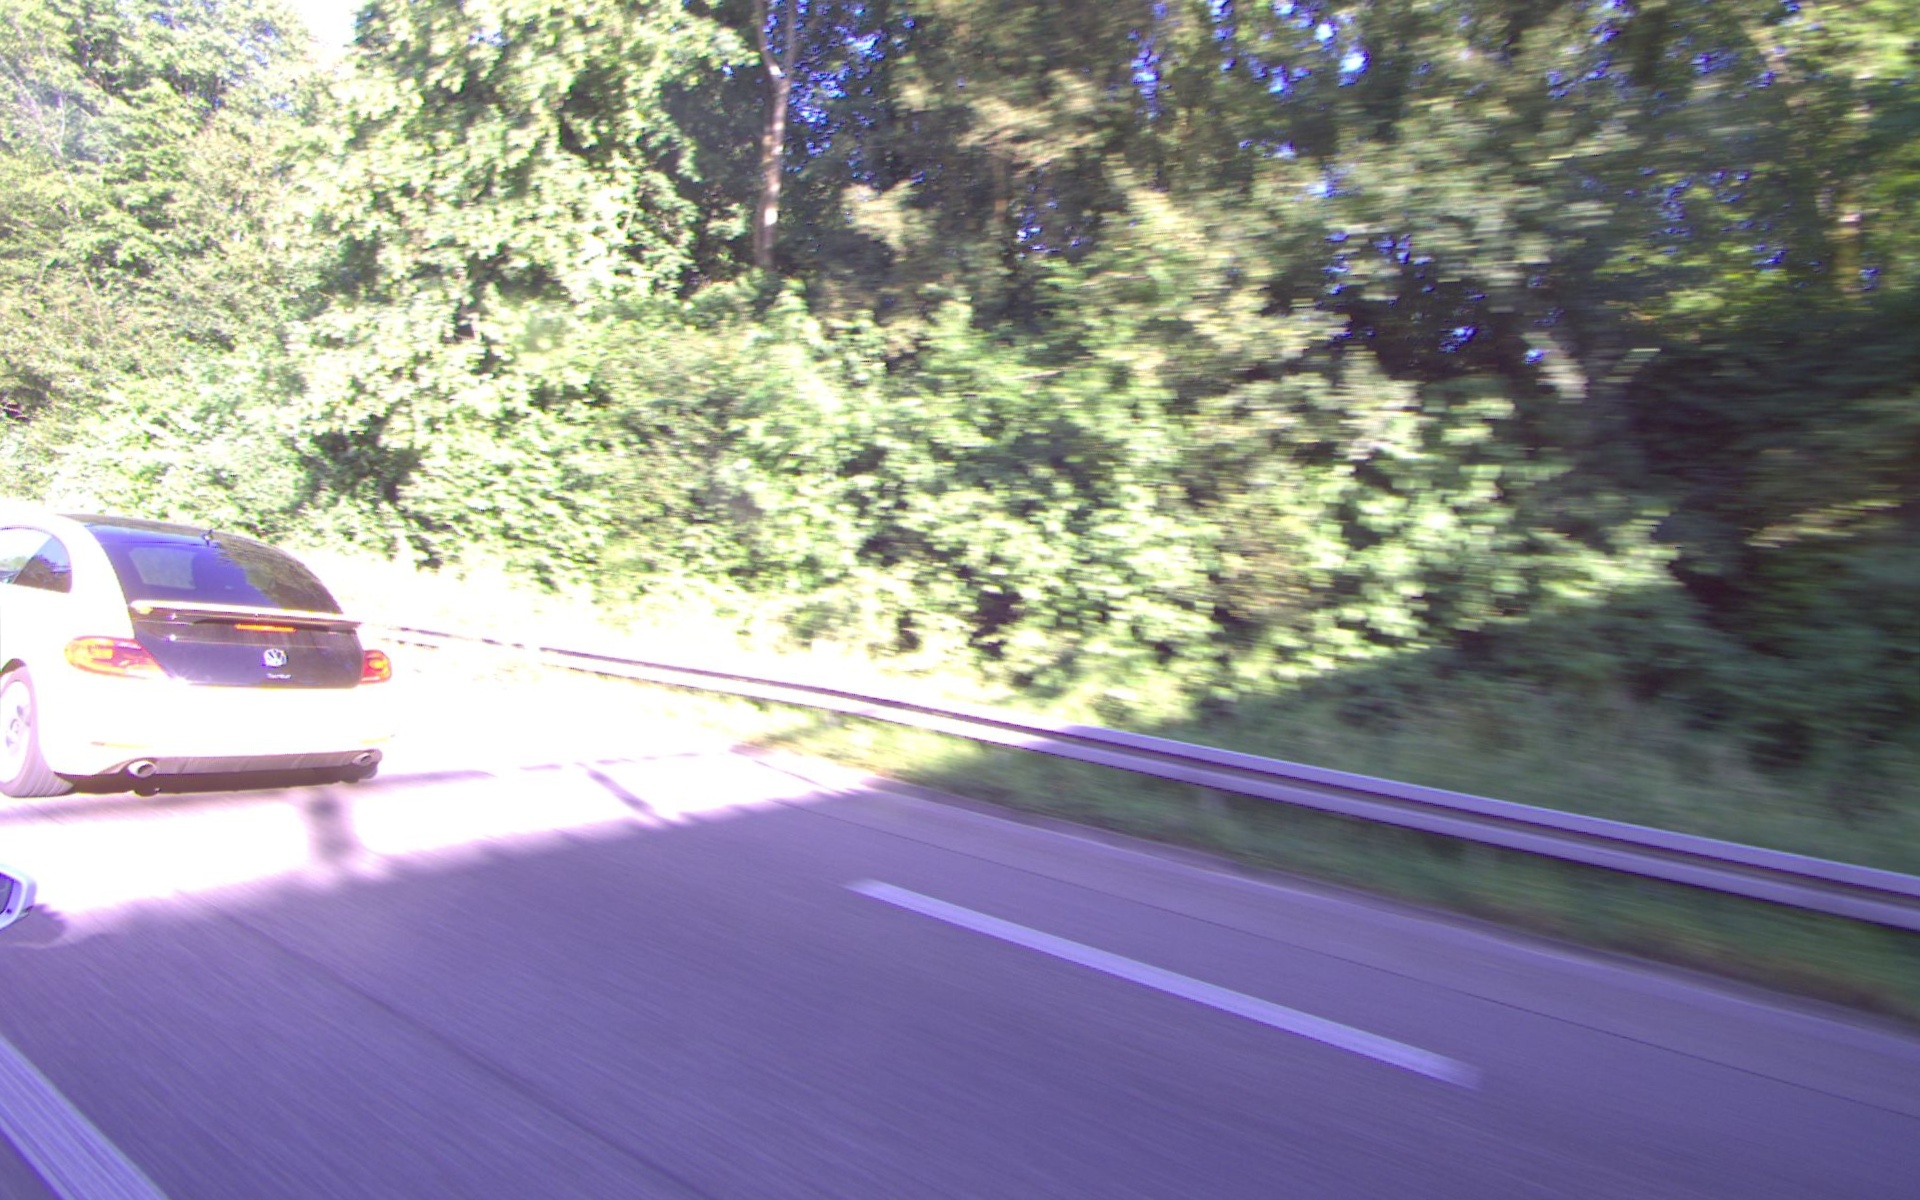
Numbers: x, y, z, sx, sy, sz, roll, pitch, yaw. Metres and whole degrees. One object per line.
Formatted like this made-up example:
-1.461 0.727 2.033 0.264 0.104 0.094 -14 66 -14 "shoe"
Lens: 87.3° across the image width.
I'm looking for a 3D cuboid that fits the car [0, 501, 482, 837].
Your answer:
-5.345 0.225 6.518 4.283 1.479 1.883 7 -1 31 "car"
